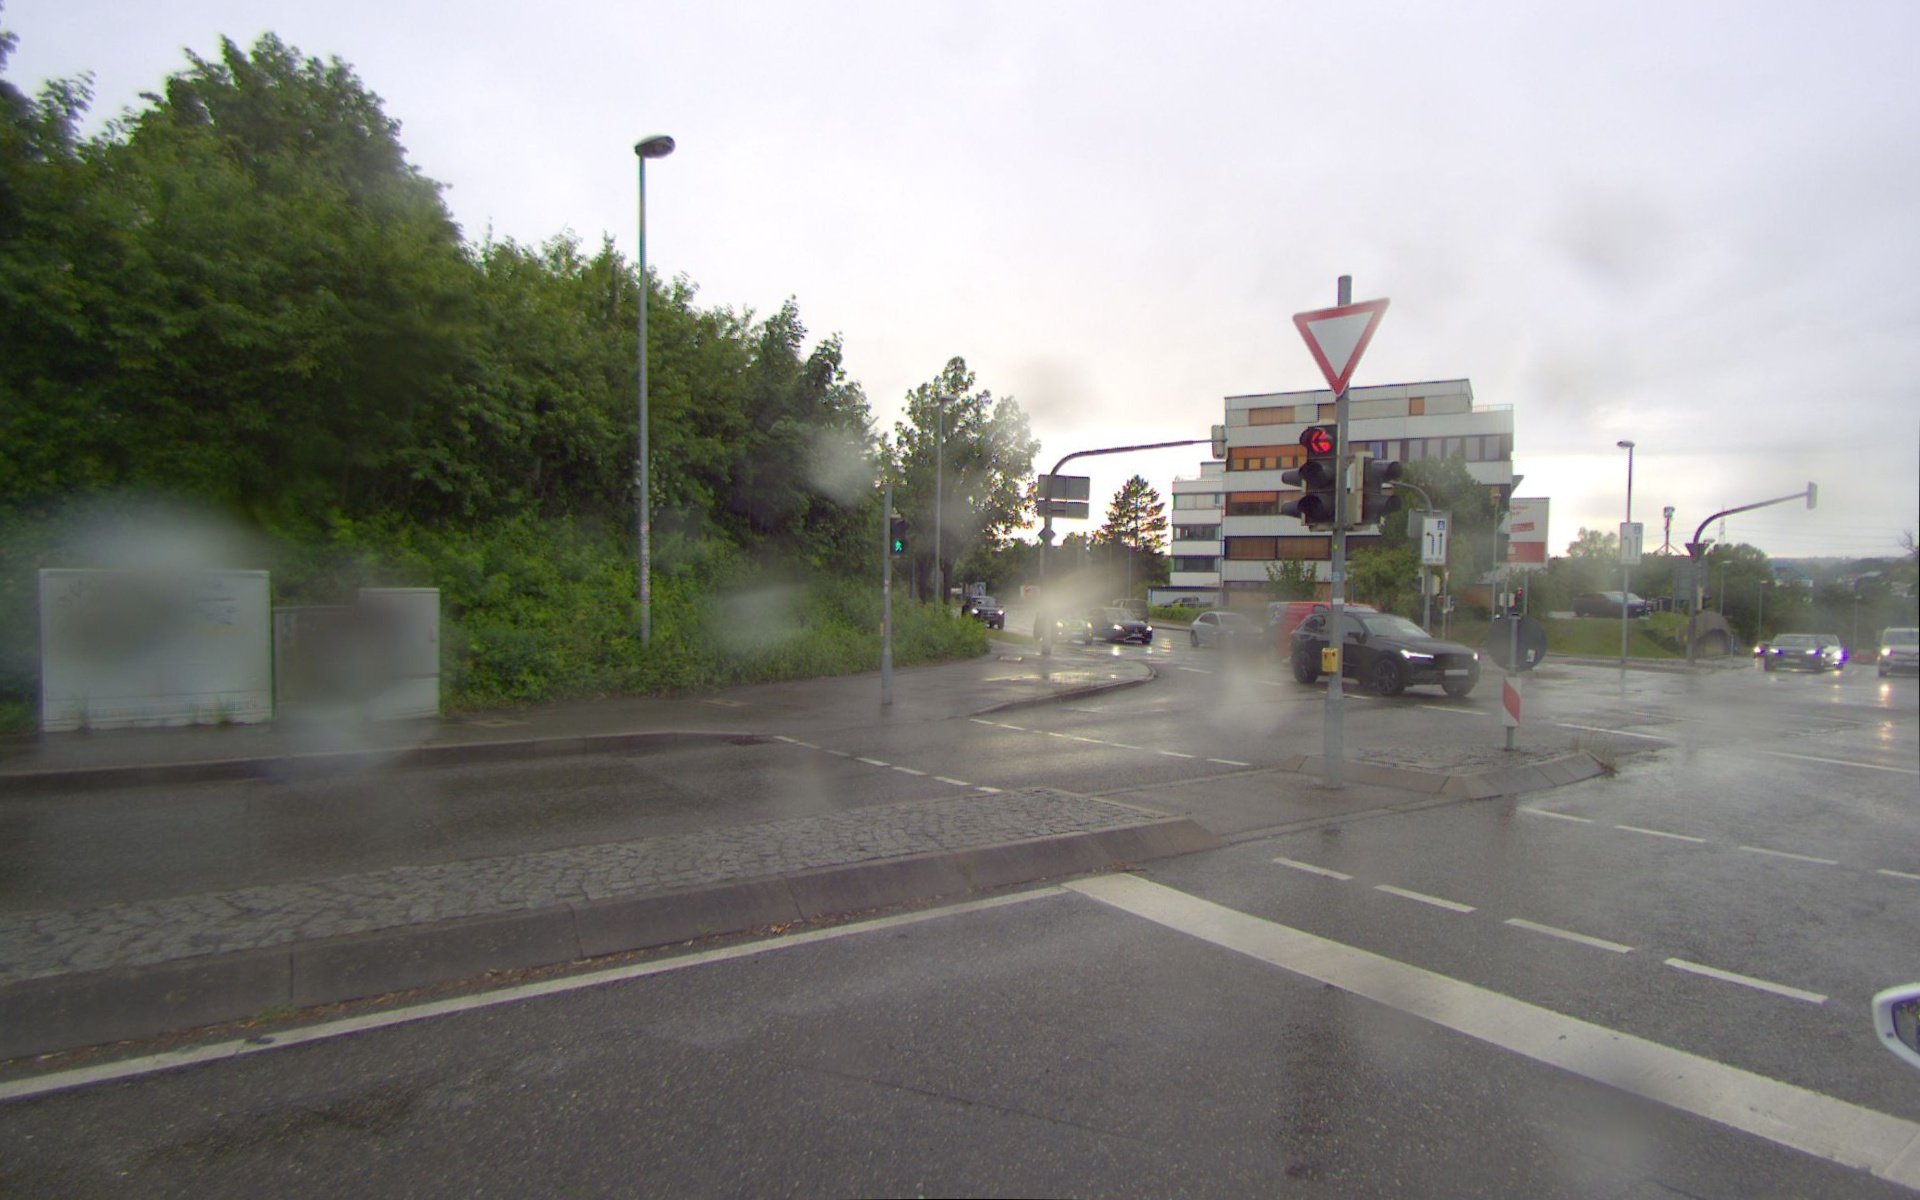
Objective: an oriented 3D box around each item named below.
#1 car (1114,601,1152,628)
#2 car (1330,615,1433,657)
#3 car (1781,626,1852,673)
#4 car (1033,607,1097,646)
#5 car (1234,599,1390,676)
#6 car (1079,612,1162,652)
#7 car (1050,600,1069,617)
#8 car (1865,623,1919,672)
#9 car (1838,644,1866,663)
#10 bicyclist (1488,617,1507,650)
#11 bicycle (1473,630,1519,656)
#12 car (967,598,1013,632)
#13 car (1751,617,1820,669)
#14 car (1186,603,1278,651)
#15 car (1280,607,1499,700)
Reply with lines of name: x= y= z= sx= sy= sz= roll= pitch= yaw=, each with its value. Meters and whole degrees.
car: x=12.466 y=1.023 z=72.672 sx=1.961 sy=1.873 sz=3.999 roll=1 pitch=1 yaw=-1
car: x=18.262 y=1.533 z=43.701 sx=1.927 sy=1.617 sz=3.982 roll=1 pitch=1 yaw=-19
car: x=38.932 y=2.185 z=45.635 sx=3.971 sy=1.920 sz=1.975 roll=1 pitch=1 yaw=-43
car: x=4.192 y=1.033 z=40.468 sx=1.651 sy=1.405 sz=3.454 roll=1 pitch=1 yaw=-10
car: x=10.189 y=1.017 z=29.520 sx=1.967 sy=2.040 sz=4.771 roll=1 pitch=0 yaw=-15
car: x=6.804 y=1.319 z=43.050 sx=1.965 sy=1.496 sz=4.663 roll=1 pitch=1 yaw=-12
car: x=12.262 y=1.023 z=123.706 sx=1.959 sy=2.041 sz=5.015 roll=1 pitch=1 yaw=9
car: x=34.873 y=1.711 z=37.040 sx=3.974 sy=1.639 sz=1.973 roll=1 pitch=1 yaw=-45
car: x=82.762 y=4.967 z=93.270 sx=1.594 sy=1.468 sz=3.791 roll=3 pitch=3 yaw=37
bicyclist: x=24.451 y=1.515 z=45.699 sx=0.597 sy=1.465 sz=0.539 roll=1 pitch=1 yaw=-36
bicycle: x=24.414 y=1.943 z=45.748 sx=0.604 sy=1.066 sz=1.762 roll=1 pitch=1 yaw=-35
car: x=1.624 y=0.794 z=56.136 sx=1.962 sy=1.725 sz=4.606 roll=1 pitch=1 yaw=-6
car: x=33.416 y=1.670 z=40.629 sx=1.971 sy=1.920 sz=3.978 roll=2 pitch=1 yaw=42
car: x=10.676 y=1.012 z=39.741 sx=1.964 sy=1.706 sz=3.992 roll=1 pitch=1 yaw=-10
car: x=8.969 y=1.028 z=21.503 sx=1.999 sy=1.701 sz=4.620 roll=0 pitch=0 yaw=-13
